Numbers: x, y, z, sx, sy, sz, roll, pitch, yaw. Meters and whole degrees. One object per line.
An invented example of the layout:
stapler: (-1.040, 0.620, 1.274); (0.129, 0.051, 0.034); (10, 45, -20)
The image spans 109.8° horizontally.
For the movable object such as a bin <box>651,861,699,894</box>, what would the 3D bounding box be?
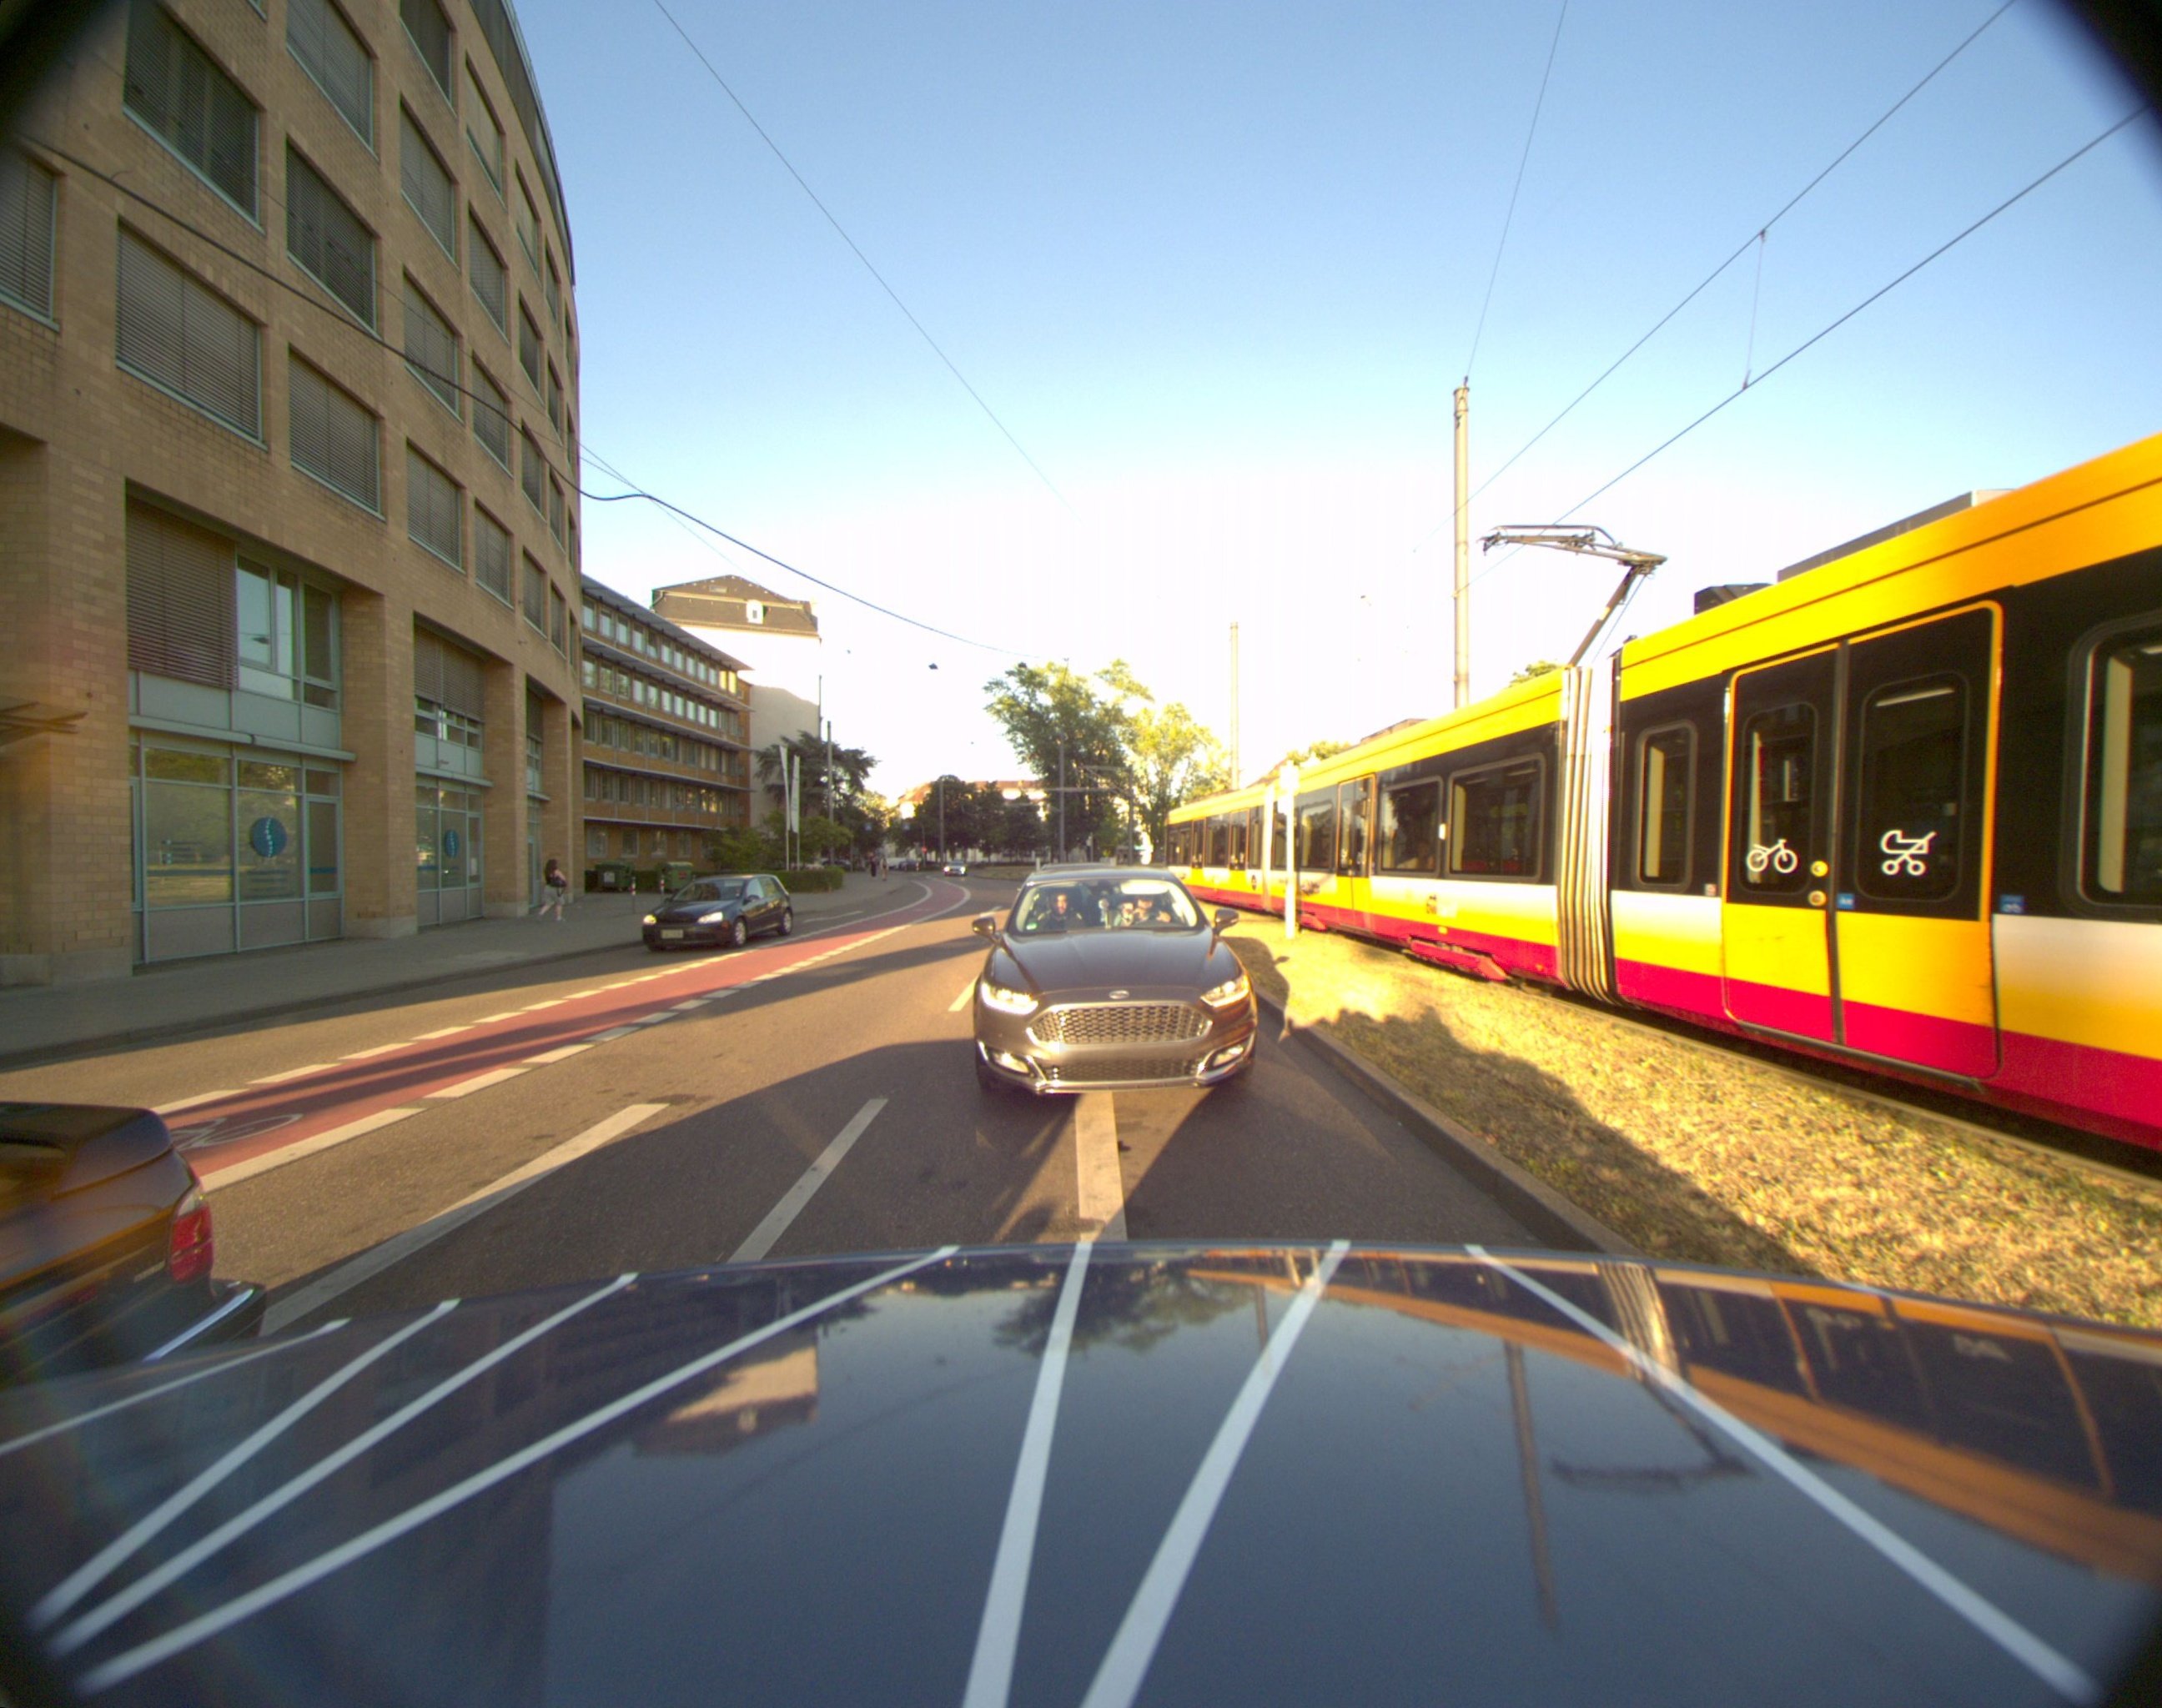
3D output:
movable object such as a bin: (-18.266, 1.045, 34.233); (1.427, 1.450, 1.332); (-1, 0, -3)

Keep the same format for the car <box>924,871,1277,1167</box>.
car: (0.148, 0.949, 6.461); (1.890, 1.477, 4.725); (0, 0, 1)

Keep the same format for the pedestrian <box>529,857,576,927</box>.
pedestrian: (-12.910, 0.908, 18.586); (0.628, 1.672, 0.713); (-1, 1, -3)

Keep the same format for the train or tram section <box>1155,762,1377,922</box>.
train or tram section: (4.947, -0.313, 23.879); (2.914, 3.717, 12.184); (-1, 0, -6)

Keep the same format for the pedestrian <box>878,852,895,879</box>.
pedestrian: (-13.796, 0.816, 53.891); (0.911, 1.883, 1.126); (-1, 1, 1)

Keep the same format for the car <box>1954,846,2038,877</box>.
car: (58.688, 0.445, 48.837); (1.995, 1.868, 4.007); (0, 0, 27)

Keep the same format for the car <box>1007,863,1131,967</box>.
car: (-0.134, 0.964, 14.032); (1.897, 1.526, 4.705); (0, 0, 1)

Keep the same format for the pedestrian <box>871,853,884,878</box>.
pedestrian: (-15.003, 0.826, 55.928); (0.728, 1.797, 0.724); (-1, 1, 1)

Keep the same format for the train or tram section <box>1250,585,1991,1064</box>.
train or tram section: (5.599, -0.249, 12.039); (2.885, 3.717, 12.181); (-1, 0, -1)

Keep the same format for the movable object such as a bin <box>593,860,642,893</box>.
movable object such as a bin: (-21.181, 1.016, 34.773); (1.427, 1.450, 1.332); (-1, 0, -2)

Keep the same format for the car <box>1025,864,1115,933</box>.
car: (-0.270, 1.031, 19.135); (1.999, 1.453, 4.142); (-1, 0, -1)

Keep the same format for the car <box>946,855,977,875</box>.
car: (-11.271, 1.008, 71.888); (1.997, 1.739, 4.002); (-1, 0, 6)

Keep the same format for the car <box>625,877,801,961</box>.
car: (-7.529, 1.268, 16.033); (1.759, 1.379, 3.999); (-2, 0, -1)
